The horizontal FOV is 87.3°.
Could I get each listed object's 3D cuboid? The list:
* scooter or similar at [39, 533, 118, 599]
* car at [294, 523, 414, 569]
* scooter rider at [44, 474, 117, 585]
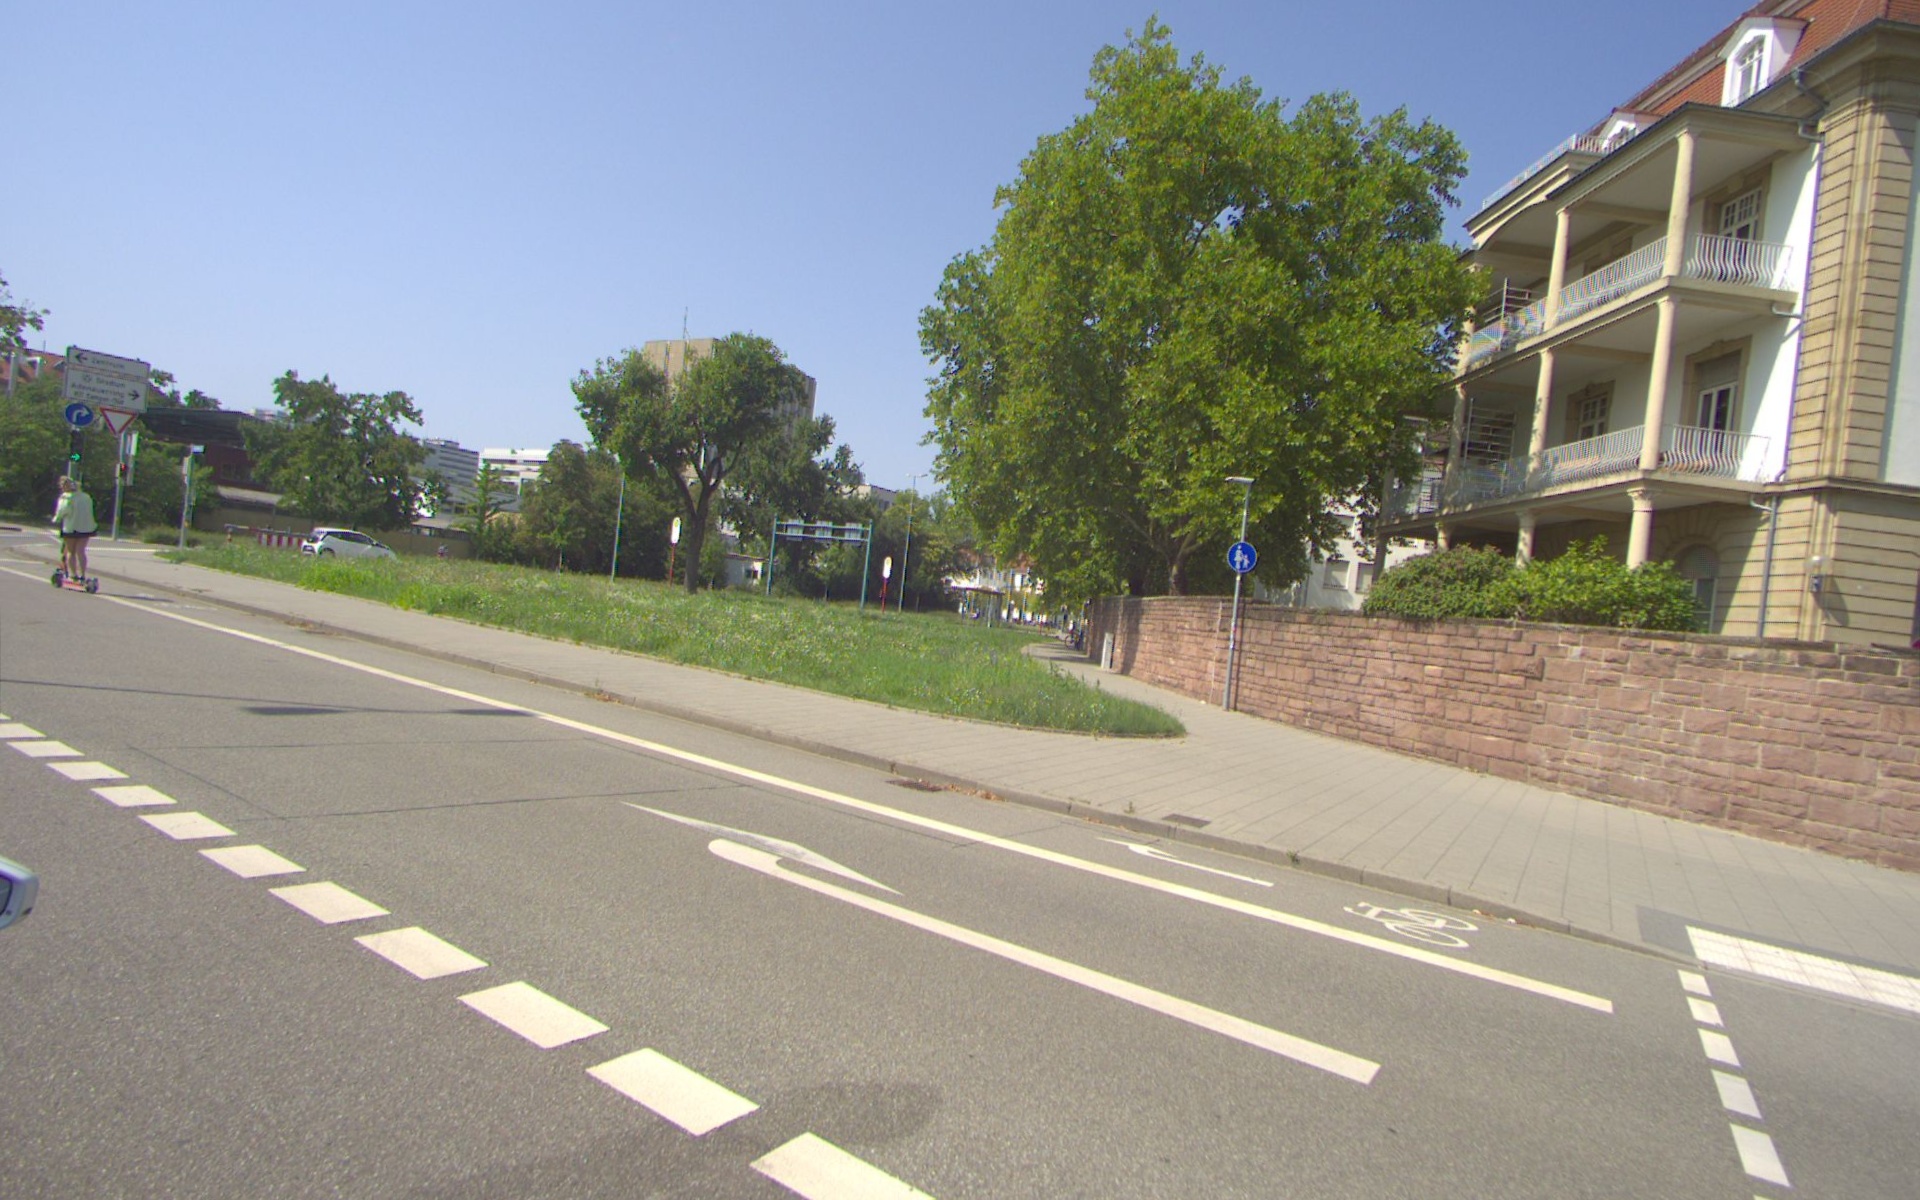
[{"bbox_3d":[-15.106,-0.593,17.231,1.598,0.938,0.771,7,0,42],"label":"scooter or similar"},{"bbox_3d":[-26.200,-2.322,43.596,1.820,1.408,3.986,7,0,36],"label":"car"},{"bbox_3d":[-15.126,-1.210,17.298,0.547,1.798,0.761,7,1,41],"label":"scooter rider"}]
